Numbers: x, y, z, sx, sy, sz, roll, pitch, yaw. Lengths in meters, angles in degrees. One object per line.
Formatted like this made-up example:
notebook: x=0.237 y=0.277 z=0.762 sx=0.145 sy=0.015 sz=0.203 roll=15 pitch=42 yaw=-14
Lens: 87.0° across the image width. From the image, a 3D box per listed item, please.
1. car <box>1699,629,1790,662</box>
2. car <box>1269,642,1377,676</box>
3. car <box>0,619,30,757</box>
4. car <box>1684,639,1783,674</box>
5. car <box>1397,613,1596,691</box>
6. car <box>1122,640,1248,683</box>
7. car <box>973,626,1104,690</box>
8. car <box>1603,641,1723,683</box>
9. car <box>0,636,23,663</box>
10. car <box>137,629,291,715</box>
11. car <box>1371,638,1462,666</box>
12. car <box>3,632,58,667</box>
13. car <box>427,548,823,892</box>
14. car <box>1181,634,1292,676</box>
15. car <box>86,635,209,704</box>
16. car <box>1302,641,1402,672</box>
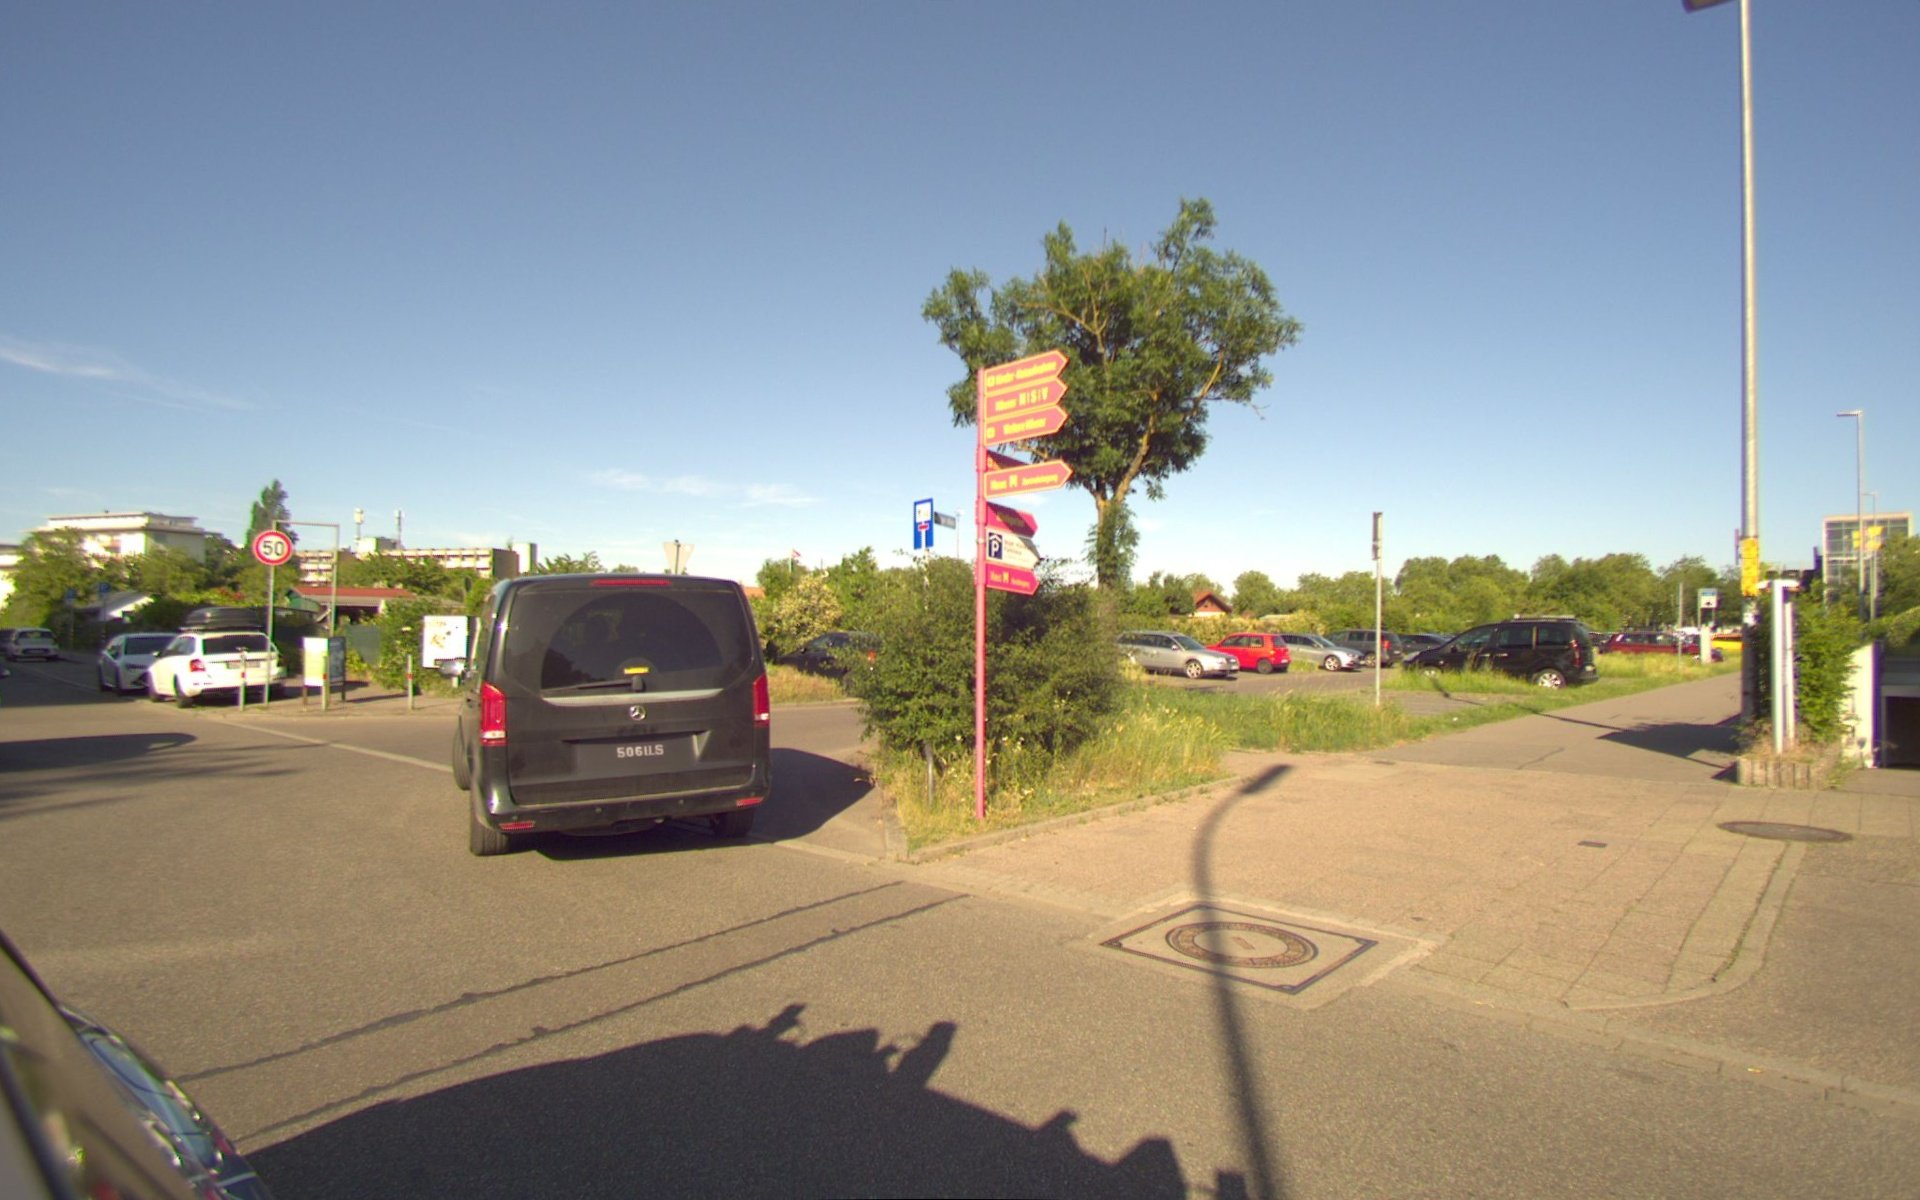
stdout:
car: x=50.232 y=2.911 z=64.857 sx=1.970 sy=2.029 sz=4.396 roll=2 pitch=-3 yaw=-45
car: x=14.612 y=2.342 z=40.872 sx=3.844 sy=1.273 sz=1.490 roll=-2 pitch=-3 yaw=42
car: x=-10.888 y=0.963 z=10.297 sx=1.653 sy=1.459 sz=4.009 roll=-3 pitch=-1 yaw=-37
car: x=45.915 y=3.326 z=60.149 sx=1.969 sy=1.955 sz=4.398 roll=2 pitch=-3 yaw=-42
car: x=13.268 y=1.263 z=25.210 sx=1.487 sy=1.803 sz=4.109 roll=2 pitch=-3 yaw=-41
car: x=7.441 y=2.032 z=33.686 sx=3.844 sy=1.273 sz=1.490 roll=-1 pitch=-5 yaw=42
car: x=2.201 y=1.634 z=29.286 sx=1.487 sy=1.707 sz=3.851 roll=2 pitch=-3 yaw=-41
car: x=30.281 y=2.630 z=43.672 sx=4.000 sy=1.714 sz=1.972 roll=-2 pitch=-3 yaw=43
car: x=-54.361 y=2.771 z=57.207 sx=4.516 sy=1.434 sz=1.677 roll=-2 pitch=-1 yaw=42
car: x=-15.397 y=1.411 z=20.793 sx=4.516 sy=1.525 sz=1.678 roll=-2 pitch=0 yaw=42
car: x=22.517 y=2.546 z=49.939 sx=3.844 sy=1.273 sz=1.490 roll=-1 pitch=-5 yaw=42
car: x=-41.619 y=2.200 z=45.299 sx=3.401 sy=1.499 sz=1.511 roll=-2 pitch=-2 yaw=42
car: x=-3.087 y=0.769 z=8.325 sx=1.928 sy=1.882 sz=5.270 roll=2 pitch=-3 yaw=-31
car: x=10.369 y=2.052 z=38.155 sx=1.487 sy=1.496 sz=3.851 roll=2 pitch=-3 yaw=-41
car: x=-20.251 y=1.654 z=25.167 sx=4.541 sy=1.457 sz=1.728 roll=-2 pitch=0 yaw=43
car: x=17.314 y=2.478 z=44.750 sx=3.844 sy=1.273 sz=1.490 roll=-1 pitch=-5 yaw=42
